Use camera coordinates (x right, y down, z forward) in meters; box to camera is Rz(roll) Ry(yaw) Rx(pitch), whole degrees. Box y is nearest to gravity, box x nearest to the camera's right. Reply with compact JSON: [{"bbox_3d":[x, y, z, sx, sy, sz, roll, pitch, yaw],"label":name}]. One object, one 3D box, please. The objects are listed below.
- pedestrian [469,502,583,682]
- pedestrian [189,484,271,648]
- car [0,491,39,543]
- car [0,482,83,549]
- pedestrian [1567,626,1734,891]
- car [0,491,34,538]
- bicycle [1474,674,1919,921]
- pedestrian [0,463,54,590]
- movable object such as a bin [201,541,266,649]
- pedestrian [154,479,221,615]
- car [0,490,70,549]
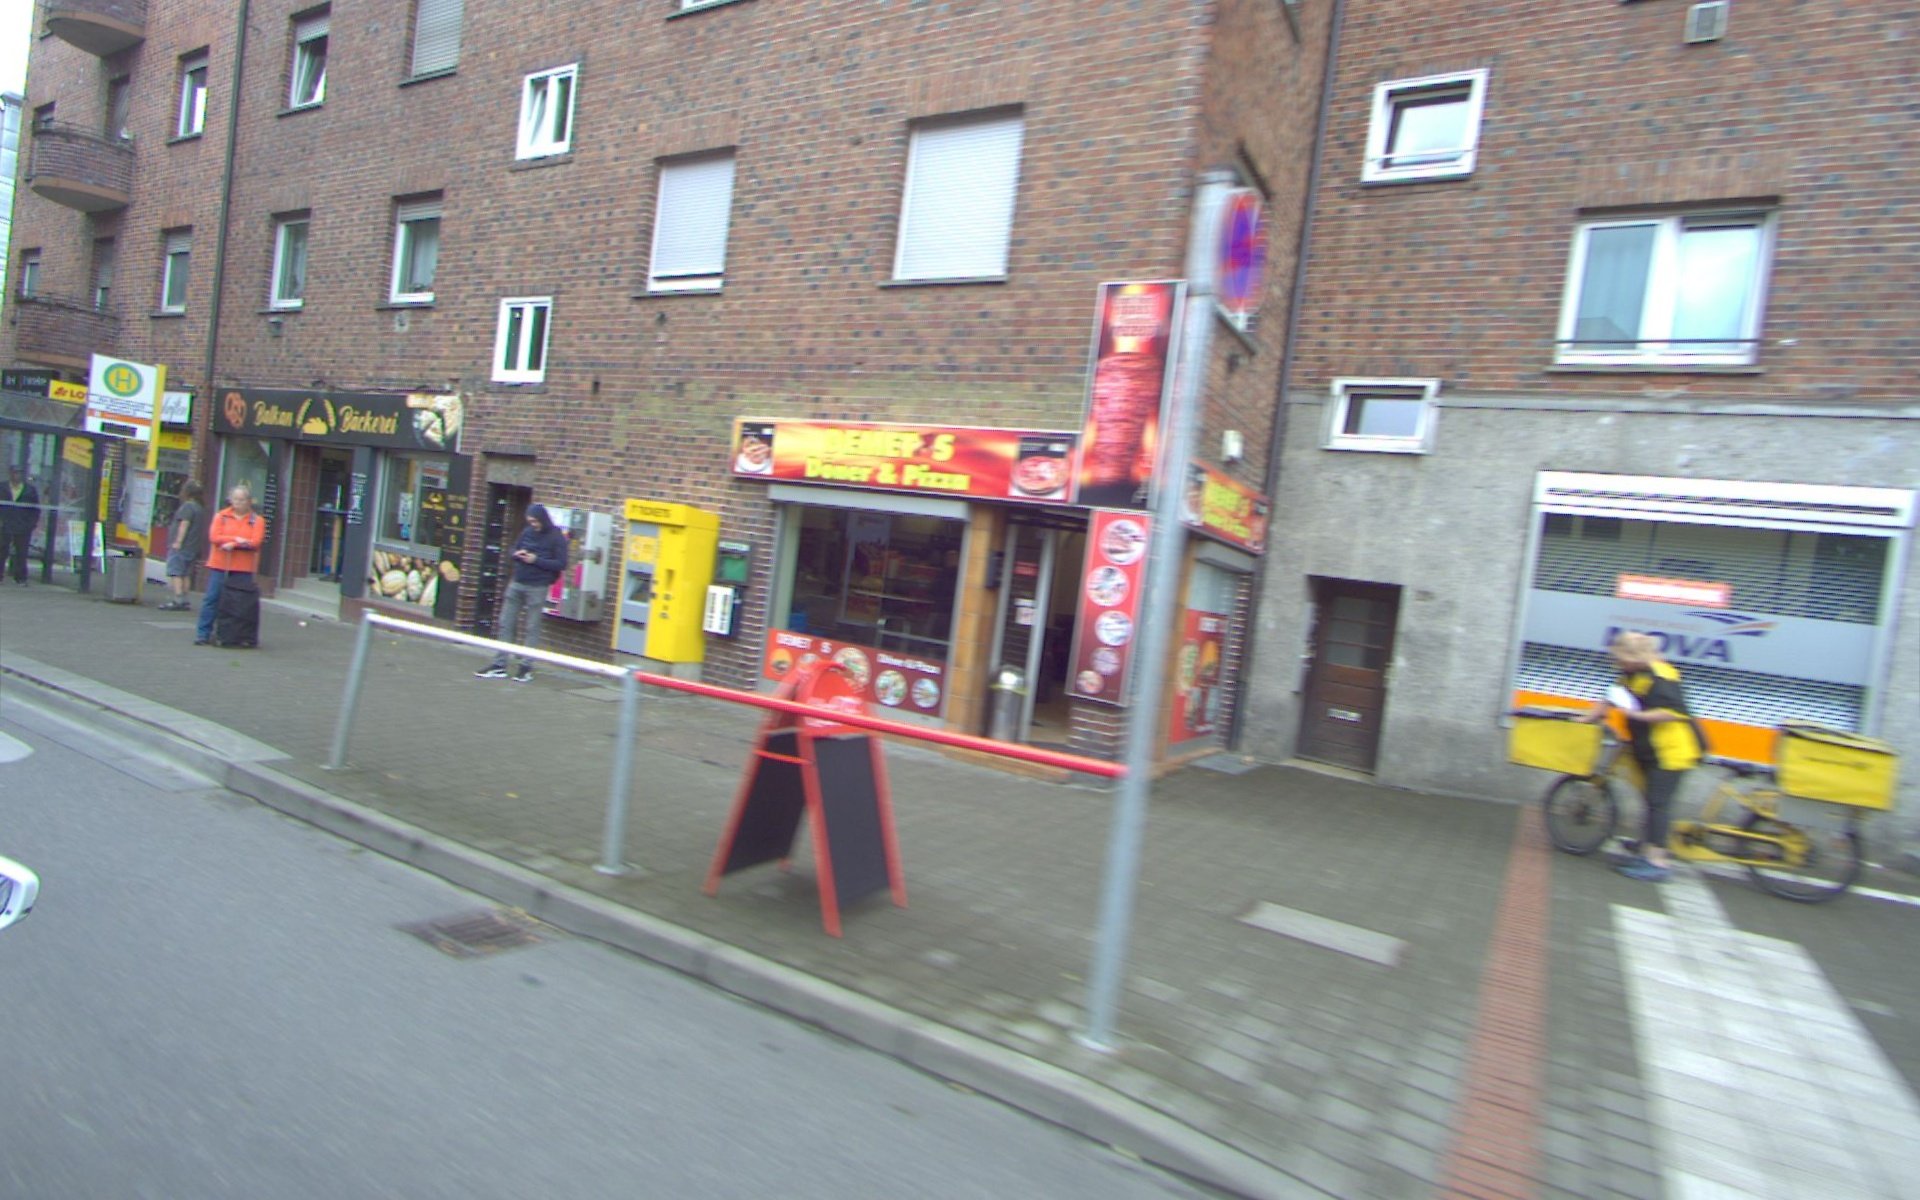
[{"bbox_3d":[-4.533,-0.083,10.505,0.766,1.772,0.647,7,1,37],"label":"pedestrian"},{"bbox_3d":[-7.815,-0.362,10.761,0.562,1.657,0.673,6,1,-38],"label":"pedestrian"},{"bbox_3d":[-31.761,-2.847,30.842,4.871,1.511,1.838,7,0,-34],"label":"car"},{"bbox_3d":[-27.610,-2.510,27.702,4.863,1.695,1.983,4,2,-31],"label":"car"},{"bbox_3d":[4.843,1.058,7.123,0.759,1.679,0.788,7,3,32],"label":"pedestrian"},{"bbox_3d":[-33.536,-3.074,32.562,4.868,1.487,1.913,7,0,-32],"label":"car"},{"bbox_3d":[5.042,1.283,7.116,2.352,1.208,0.760,7,1,32],"label":"bicycle"},{"bbox_3d":[-13.824,-1.078,14.673,0.752,1.749,0.669,7,1,37],"label":"pedestrian"},{"bbox_3d":[-7.615,-0.053,10.544,0.451,1.070,0.406,6,1,-39],"label":"movable object such as a bin"},{"bbox_3d":[-10.565,-0.721,13.757,0.450,1.787,0.480,7,1,31],"label":"pedestrian"},{"bbox_3d":[-29.526,-2.598,29.398,4.865,1.559,1.984,7,0,-30],"label":"car"}]
